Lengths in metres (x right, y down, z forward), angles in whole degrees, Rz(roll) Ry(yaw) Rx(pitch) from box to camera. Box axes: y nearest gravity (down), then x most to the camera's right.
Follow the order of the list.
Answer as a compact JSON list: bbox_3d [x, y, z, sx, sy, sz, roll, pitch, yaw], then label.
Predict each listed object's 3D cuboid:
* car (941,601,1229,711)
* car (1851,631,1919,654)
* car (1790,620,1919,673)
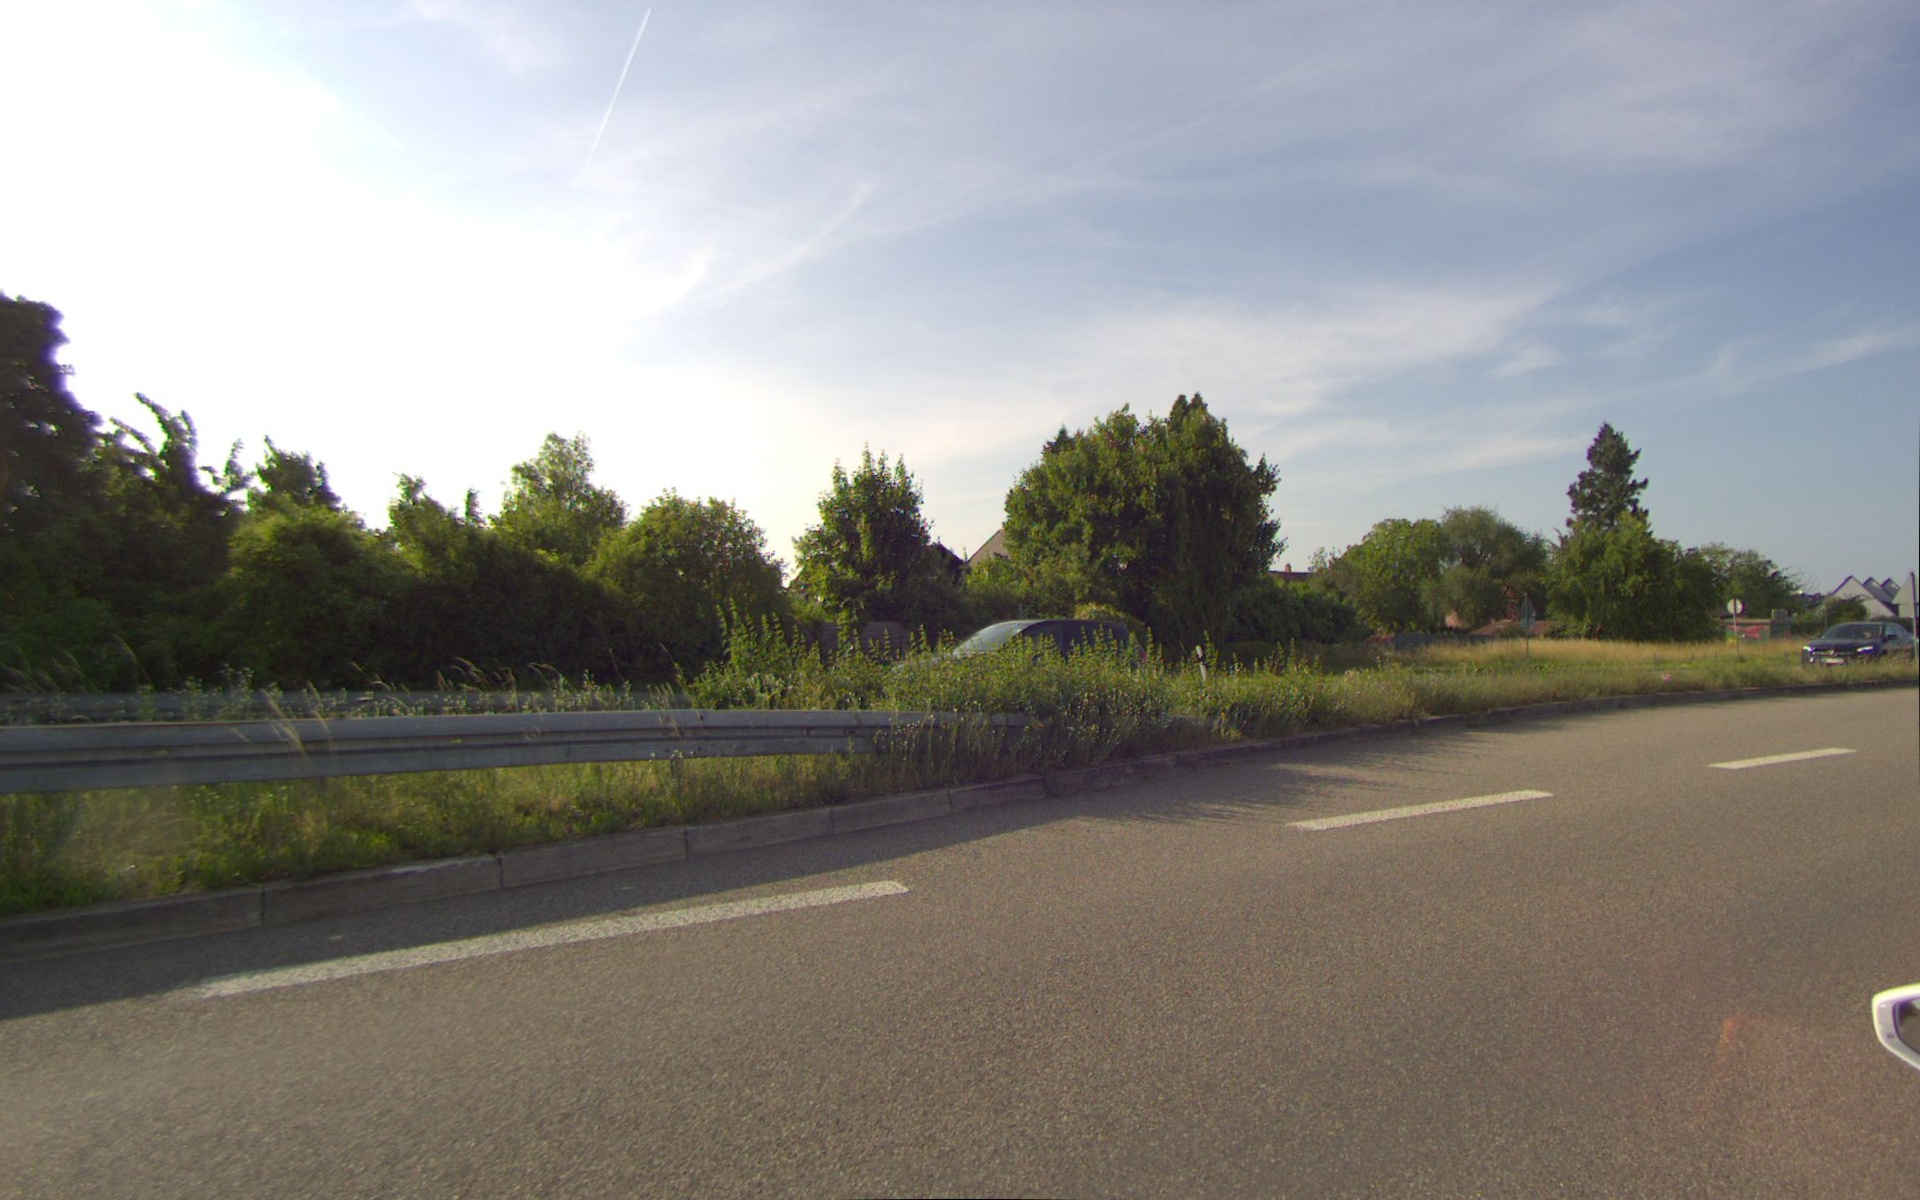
[{"bbox_3d":[2.001,0.788,15.766,4.178,1.506,1.983,0,0,-31],"label":"car"},{"bbox_3d":[69.187,3.119,74.660,1.982,1.542,4.152,0,0,-38],"label":"car"},{"bbox_3d":[26.619,1.340,29.869,3.952,1.426,1.721,0,0,-30],"label":"car"}]
